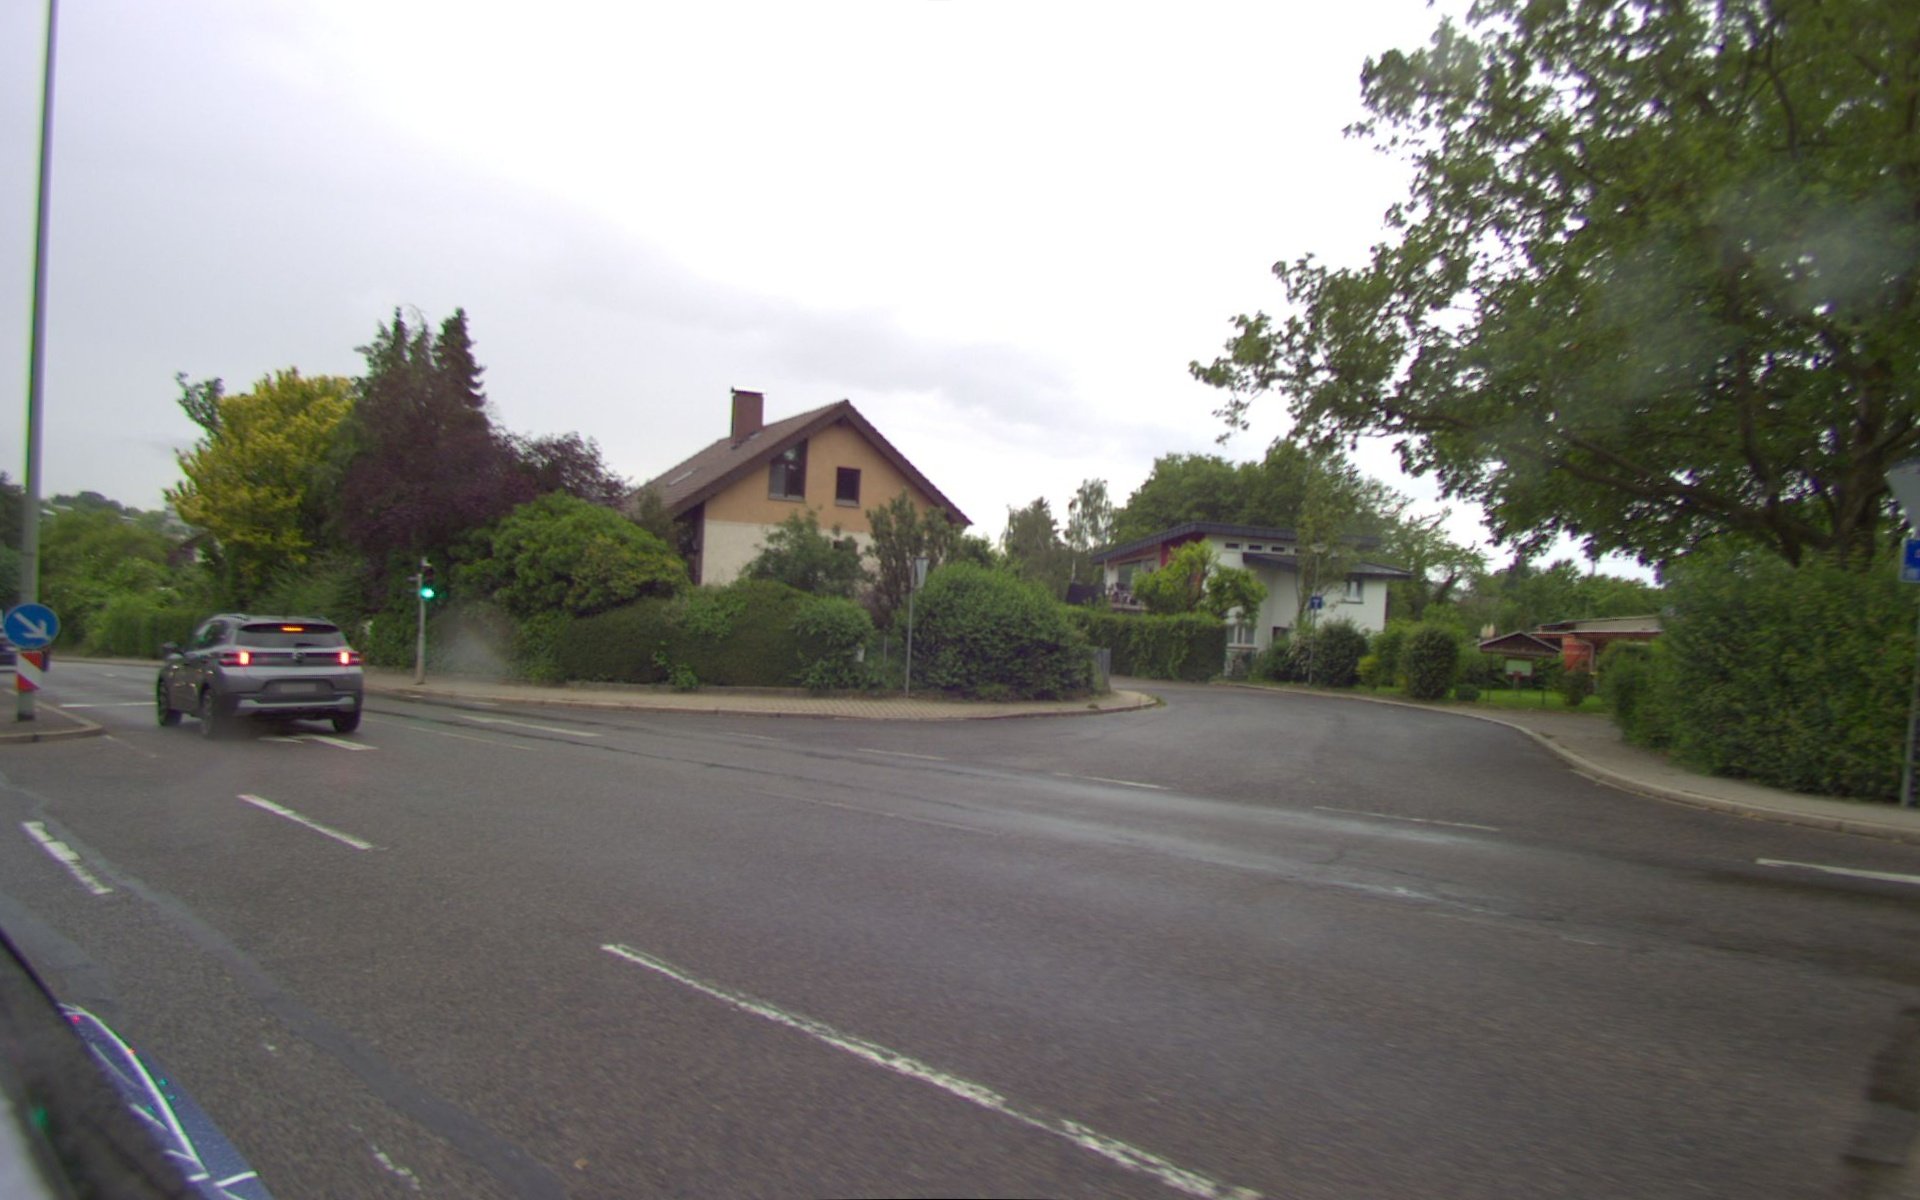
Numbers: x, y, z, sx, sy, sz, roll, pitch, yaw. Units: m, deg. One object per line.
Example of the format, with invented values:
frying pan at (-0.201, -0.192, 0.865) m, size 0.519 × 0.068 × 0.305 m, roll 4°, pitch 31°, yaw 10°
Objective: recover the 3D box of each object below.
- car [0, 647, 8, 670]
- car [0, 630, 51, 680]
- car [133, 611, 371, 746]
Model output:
car at (-65.010, 3.883, 67.536) m, size 4.155 × 1.497 × 1.709 m, roll -2°, pitch -5°, yaw 41°
car at (-32.081, 1.811, 33.864) m, size 3.875 × 1.575 × 2.004 m, roll -2°, pitch -4°, yaw 41°
car at (-9.867, 1.014, 14.028) m, size 3.729 × 1.615 × 1.776 m, roll -2°, pitch -4°, yaw 40°
